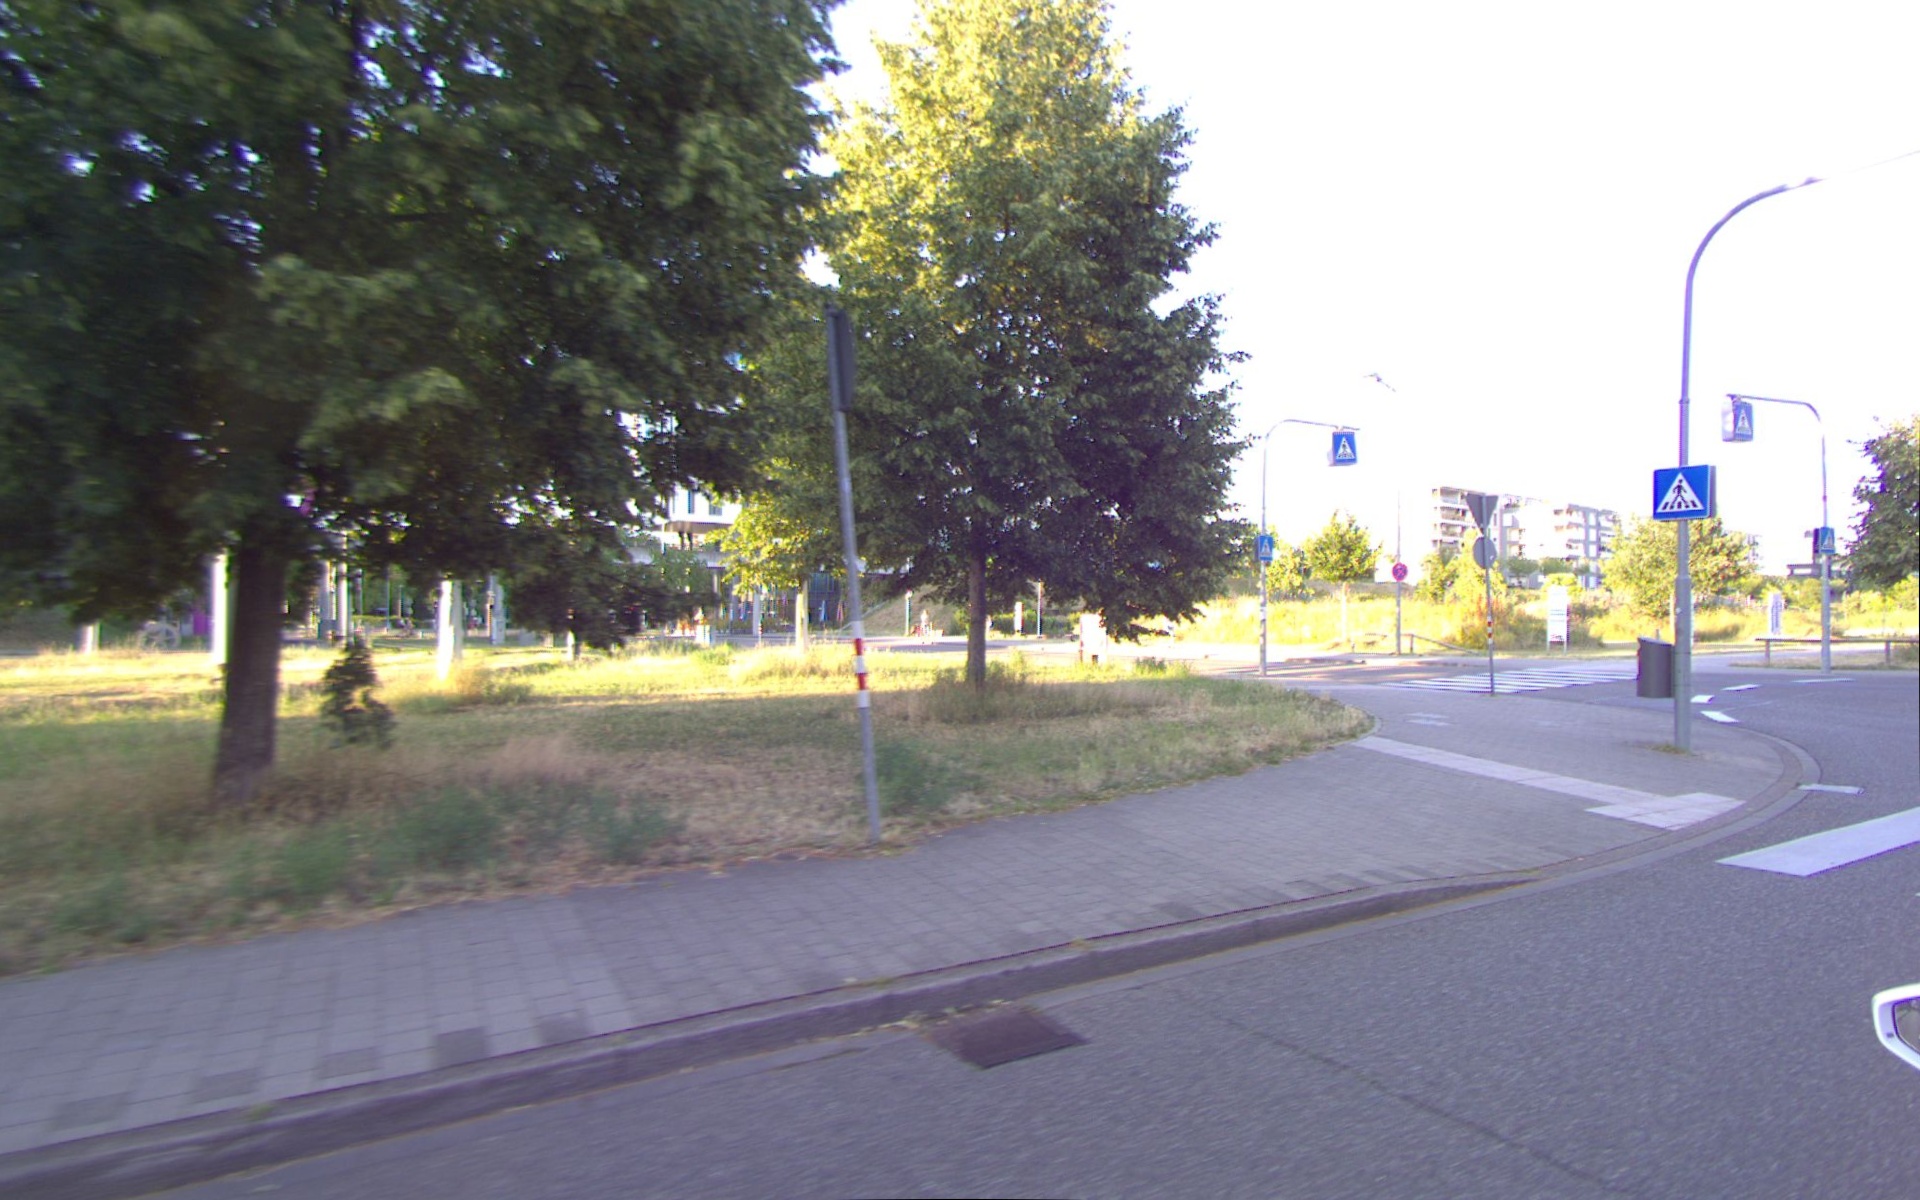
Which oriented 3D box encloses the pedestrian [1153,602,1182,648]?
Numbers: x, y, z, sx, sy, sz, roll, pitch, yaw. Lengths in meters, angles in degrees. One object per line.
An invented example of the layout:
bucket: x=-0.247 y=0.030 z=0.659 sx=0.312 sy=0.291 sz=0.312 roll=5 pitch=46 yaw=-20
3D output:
pedestrian: x=8.377 y=1.010 z=40.473 sx=0.781 sy=1.810 sz=0.861 roll=1 pitch=-1 yaw=-32

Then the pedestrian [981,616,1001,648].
pedestrian: x=2.008 y=2.088 z=65.429 sx=0.924 sy=2.046 sz=1.040 roll=1 pitch=-1 yaw=-27

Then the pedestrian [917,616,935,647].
pedestrian: x=-1.976 y=1.817 z=58.380 sx=0.803 sy=1.810 sz=0.784 roll=1 pitch=-1 yaw=-27
